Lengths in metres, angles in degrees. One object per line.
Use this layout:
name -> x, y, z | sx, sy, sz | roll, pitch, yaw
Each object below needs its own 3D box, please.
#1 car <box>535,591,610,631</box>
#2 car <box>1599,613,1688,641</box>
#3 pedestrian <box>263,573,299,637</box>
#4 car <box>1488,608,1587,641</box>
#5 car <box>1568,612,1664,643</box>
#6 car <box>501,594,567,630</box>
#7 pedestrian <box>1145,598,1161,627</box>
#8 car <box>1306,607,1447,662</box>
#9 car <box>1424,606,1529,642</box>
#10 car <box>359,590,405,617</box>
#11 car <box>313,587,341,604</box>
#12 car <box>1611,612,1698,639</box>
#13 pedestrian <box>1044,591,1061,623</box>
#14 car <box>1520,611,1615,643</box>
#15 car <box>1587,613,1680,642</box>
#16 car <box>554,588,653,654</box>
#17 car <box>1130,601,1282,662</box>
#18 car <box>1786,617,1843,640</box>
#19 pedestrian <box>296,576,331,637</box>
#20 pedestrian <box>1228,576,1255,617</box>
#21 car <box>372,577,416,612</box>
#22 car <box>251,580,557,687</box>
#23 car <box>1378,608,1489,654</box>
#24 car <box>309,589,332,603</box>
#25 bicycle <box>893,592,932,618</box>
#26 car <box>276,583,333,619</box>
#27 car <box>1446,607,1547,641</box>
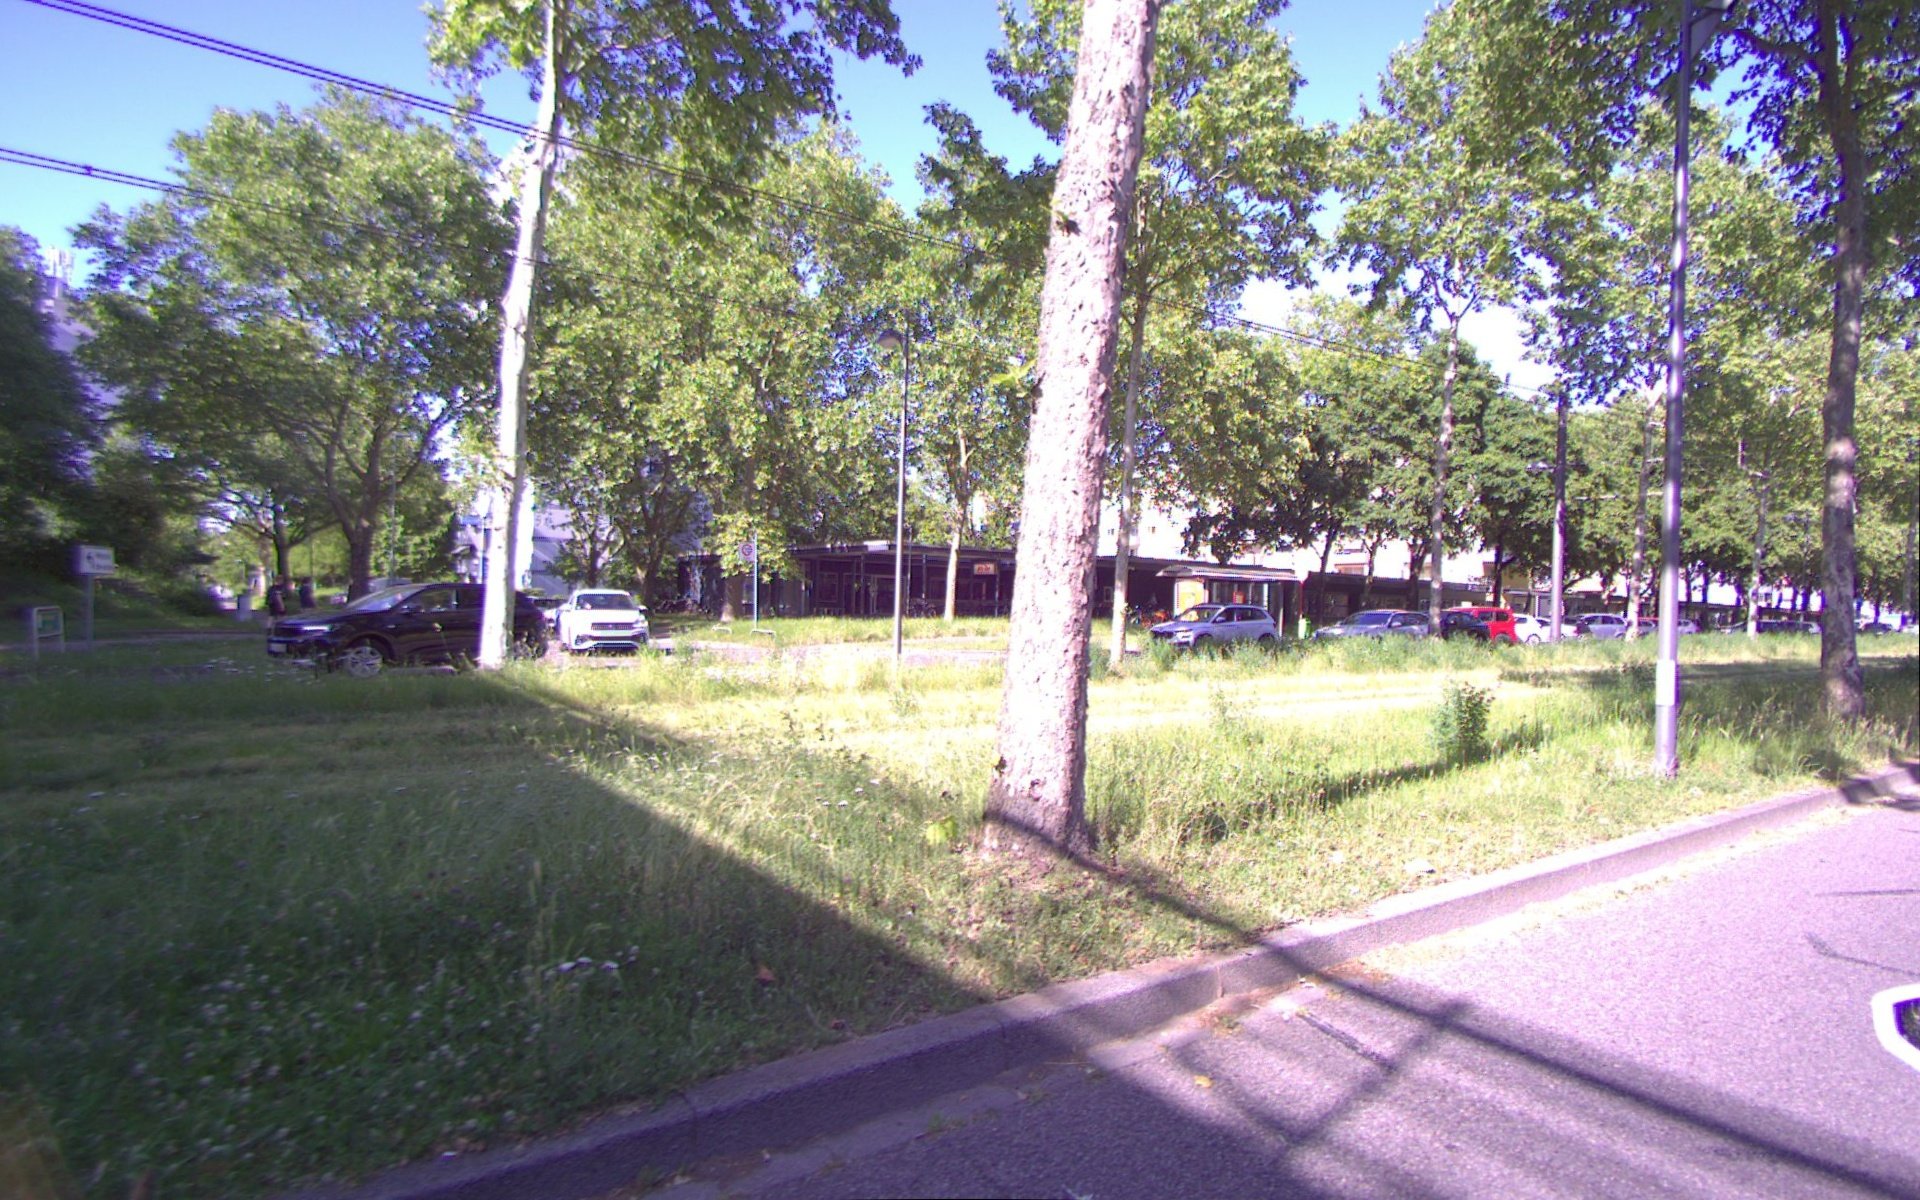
car -> -16.125, 0.439, 41.728 | 1.784, 1.530, 3.955 | 1, 0, -38
car -> 40.130, 1.566, 59.077 | 3.919, 1.530, 1.801 | 1, 0, 11
pedestrian -> -19.683, 0.149, 29.124 | 0.639, 1.807, 0.648 | 1, 0, -12
car -> 29.052, 1.230, 50.612 | 3.919, 1.530, 1.801 | 1, 0, 11
car -> 35.378, 1.488, 54.242 | 3.919, 1.530, 1.801 | 1, 0, 11
car -> -19.666, 0.538, 46.266 | 1.784, 1.530, 3.955 | 1, 0, -38
pedestrian -> 11.346, 0.719, 59.090 | 0.644, 1.683, 0.643 | 1, 0, -38
car -> 12.714, 1.023, 30.552 | 4.629, 1.530, 1.782 | 1, 0, -36
car -> 23.792, 1.104, 46.422 | 3.919, 1.530, 1.801 | 1, 0, 11
car -> -34.547, 0.199, 59.982 | 1.784, 1.530, 3.955 | 1, 0, -38
car -> -58.716, -0.405, 93.207 | 1.784, 1.530, 3.955 | 1, 0, -38
car -> 42.205, 1.545, 61.144 | 3.919, 1.530, 1.801 | 1, 0, 11
pedestrian -> 4.916, 0.377, 53.470 | 0.644, 1.683, 0.643 | 1, 0, -38
car -> 31.860, 1.409, 52.780 | 3.919, 1.530, 1.801 | 1, 0, 14
car -> 37.920, 1.523, 56.661 | 3.919, 1.530, 1.801 | 1, 0, 11
car -> -9.129, 0.498, 25.534 | 1.778, 1.530, 4.058 | 1, 0, -28
car -> 7.021, 0.872, 28.550 | 4.242, 1.601, 1.784 | 1, 0, -33
car -> 59.255, 1.956, 69.654 | 3.953, 1.530, 1.785 | 1, 0, -30
pedestrian -> -18.789, 0.186, 29.204 | 0.639, 1.728, 0.648 | 1, 0, -12
pedestrian -> 10.385, -0.140, 37.061 | 0.643, 1.479, 0.644 | 1, 0, -31
car -> -42.086, -0.420, 74.643 | 2.045, 2.469, 4.953 | 1, 0, -38
car -> -9.343, 0.522, 17.257 | 1.769, 1.587, 4.277 | 1, 0, 32
car -> 17.178, 1.108, 36.384 | 3.955, 1.530, 1.784 | 1, 0, -32
car -> -71.675, -0.475, 112.625 | 1.784, 1.530, 3.955 | 1, 0, -38
bicycle -> -2.069, 0.230, 43.951 | 1.787, 1.122, 0.549 | 1, 0, -42
car -> -29.720, 0.034, 45.491 | 1.784, 1.530, 3.955 | 1, 0, -38
car -> 25.890, 1.138, 48.552 | 3.919, 1.530, 1.801 | 1, 0, 11
